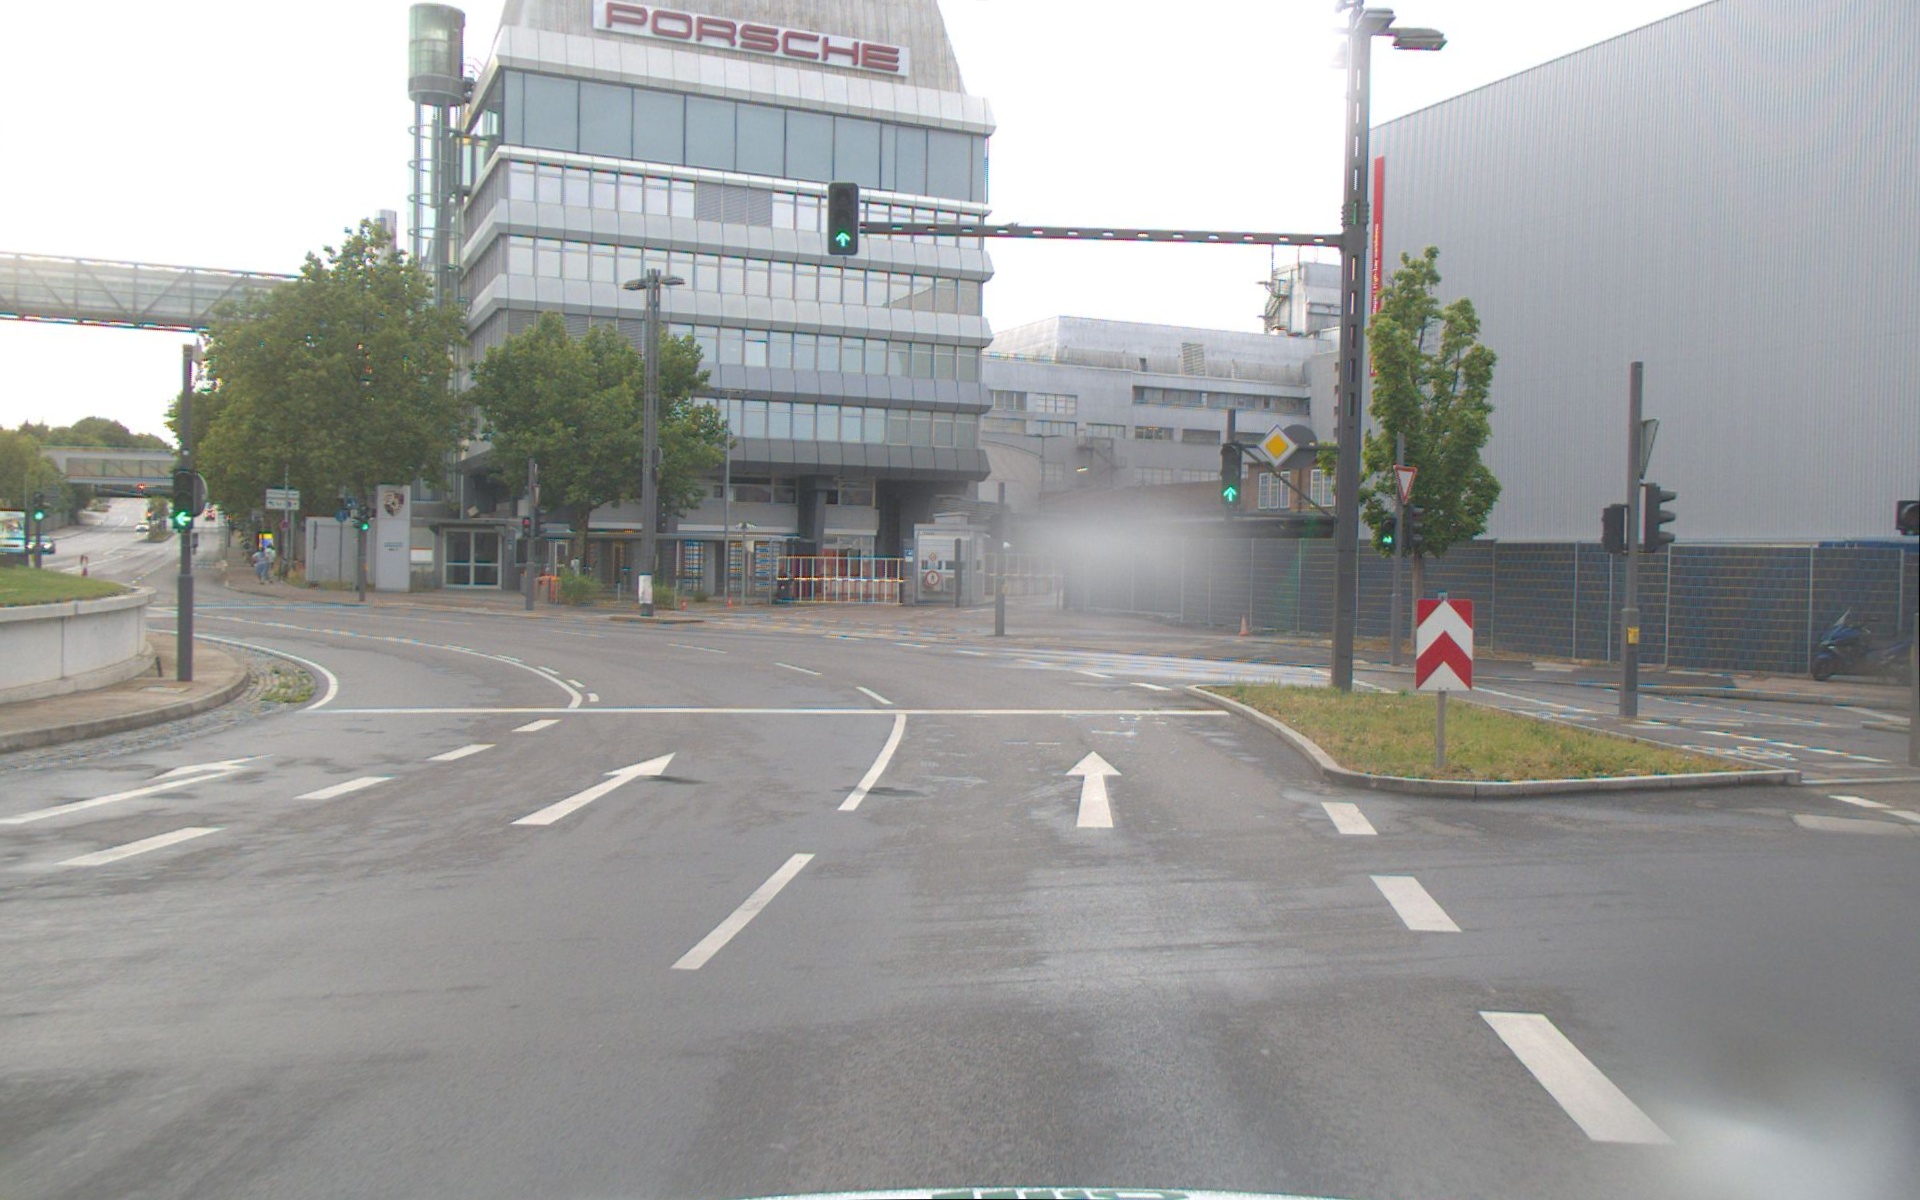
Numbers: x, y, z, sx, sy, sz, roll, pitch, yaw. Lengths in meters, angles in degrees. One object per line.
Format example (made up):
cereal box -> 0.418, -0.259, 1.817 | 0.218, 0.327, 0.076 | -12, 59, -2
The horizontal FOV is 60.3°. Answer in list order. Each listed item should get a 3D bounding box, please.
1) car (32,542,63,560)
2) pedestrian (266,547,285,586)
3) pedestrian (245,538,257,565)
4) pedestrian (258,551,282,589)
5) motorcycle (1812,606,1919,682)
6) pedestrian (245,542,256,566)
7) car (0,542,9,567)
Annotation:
car -> -75.342, -4.058, 136.601 | 1.760, 1.409, 4.512 | -2, 3, -24
pedestrian -> -28.831, -1.394, 69.652 | 0.698, 1.619, 0.836 | 0, 2, -20
pedestrian -> -48.891, -3.347, 114.005 | 0.702, 1.770, 0.754 | 2, -2, -25
pedestrian -> -28.347, -1.248, 67.962 | 0.818, 1.547, 0.837 | 0, 2, -18
motorcycle -> 17.426, 0.832, 31.438 | 2.050, 1.333, 0.656 | 3, 1, 15
pedestrian -> -62.694, -4.060, 146.118 | 0.750, 2.049, 0.691 | 1, 0, -8
car -> -60.334, -2.851, 102.639 | 1.759, 1.465, 4.364 | 0, 2, -24
